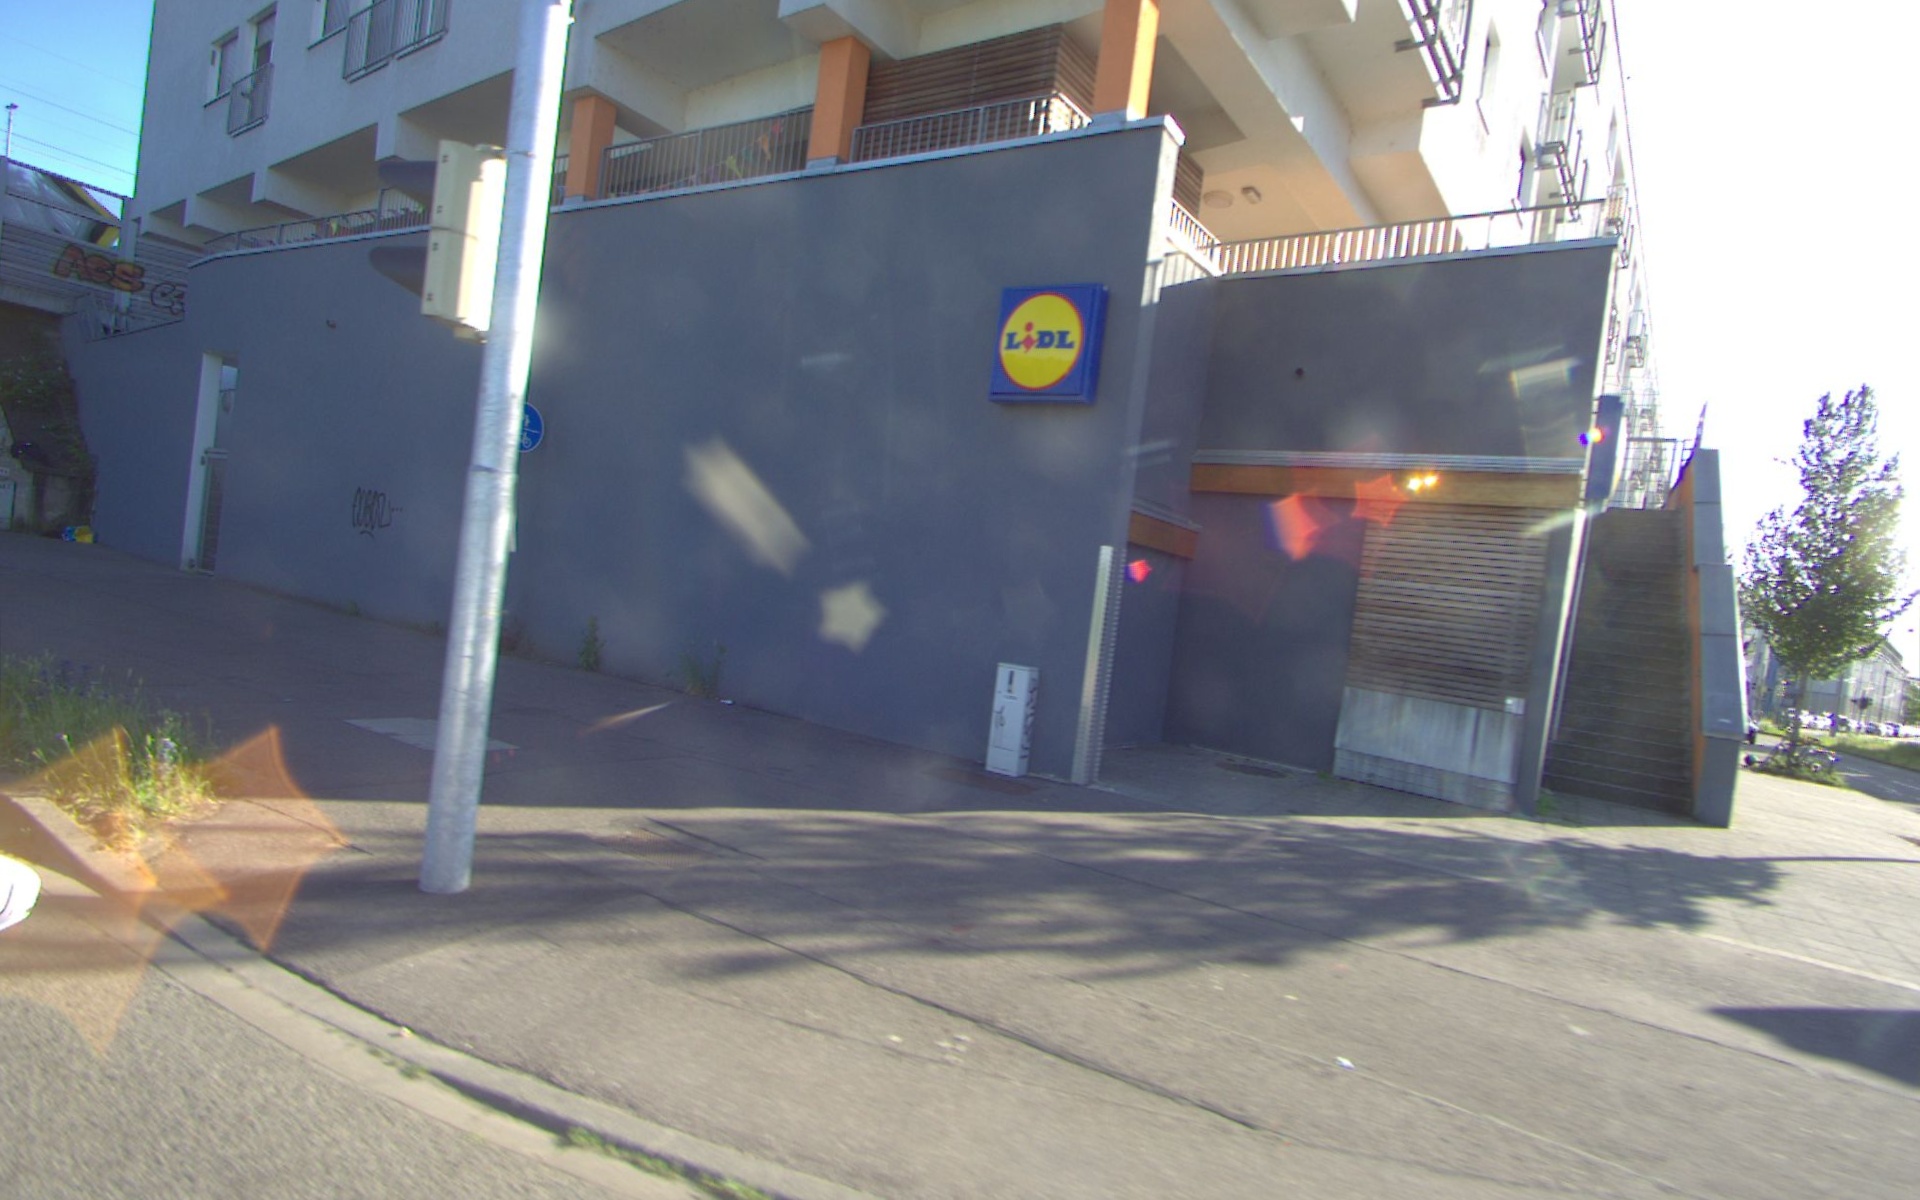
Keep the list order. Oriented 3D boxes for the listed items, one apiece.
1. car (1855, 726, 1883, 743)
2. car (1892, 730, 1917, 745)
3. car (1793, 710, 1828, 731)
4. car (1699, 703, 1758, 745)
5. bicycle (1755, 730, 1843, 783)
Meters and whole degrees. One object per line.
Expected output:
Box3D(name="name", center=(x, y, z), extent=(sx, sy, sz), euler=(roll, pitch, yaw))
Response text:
Box3D(name="car", center=(115.043, 17.063, 127.294), extent=(3.971, 1.658, 1.979), euler=(9, -2, -39))
Box3D(name="car", center=(135.015, 19.700, 143.758), extent=(3.971, 1.658, 1.979), euler=(9, -2, -39))
Box3D(name="car", center=(89.523, 12.718, 105.917), extent=(3.971, 1.658, 1.979), euler=(9, -2, -39))
Box3D(name="car", center=(37.060, 6.007, 48.606), extent=(1.969, 1.658, 3.991), euler=(7, -2, 36))
Box3D(name="bicycle", center=(19.661, 3.670, 23.595), extent=(0.479, 0.981, 1.437), euler=(8, -2, -41))
